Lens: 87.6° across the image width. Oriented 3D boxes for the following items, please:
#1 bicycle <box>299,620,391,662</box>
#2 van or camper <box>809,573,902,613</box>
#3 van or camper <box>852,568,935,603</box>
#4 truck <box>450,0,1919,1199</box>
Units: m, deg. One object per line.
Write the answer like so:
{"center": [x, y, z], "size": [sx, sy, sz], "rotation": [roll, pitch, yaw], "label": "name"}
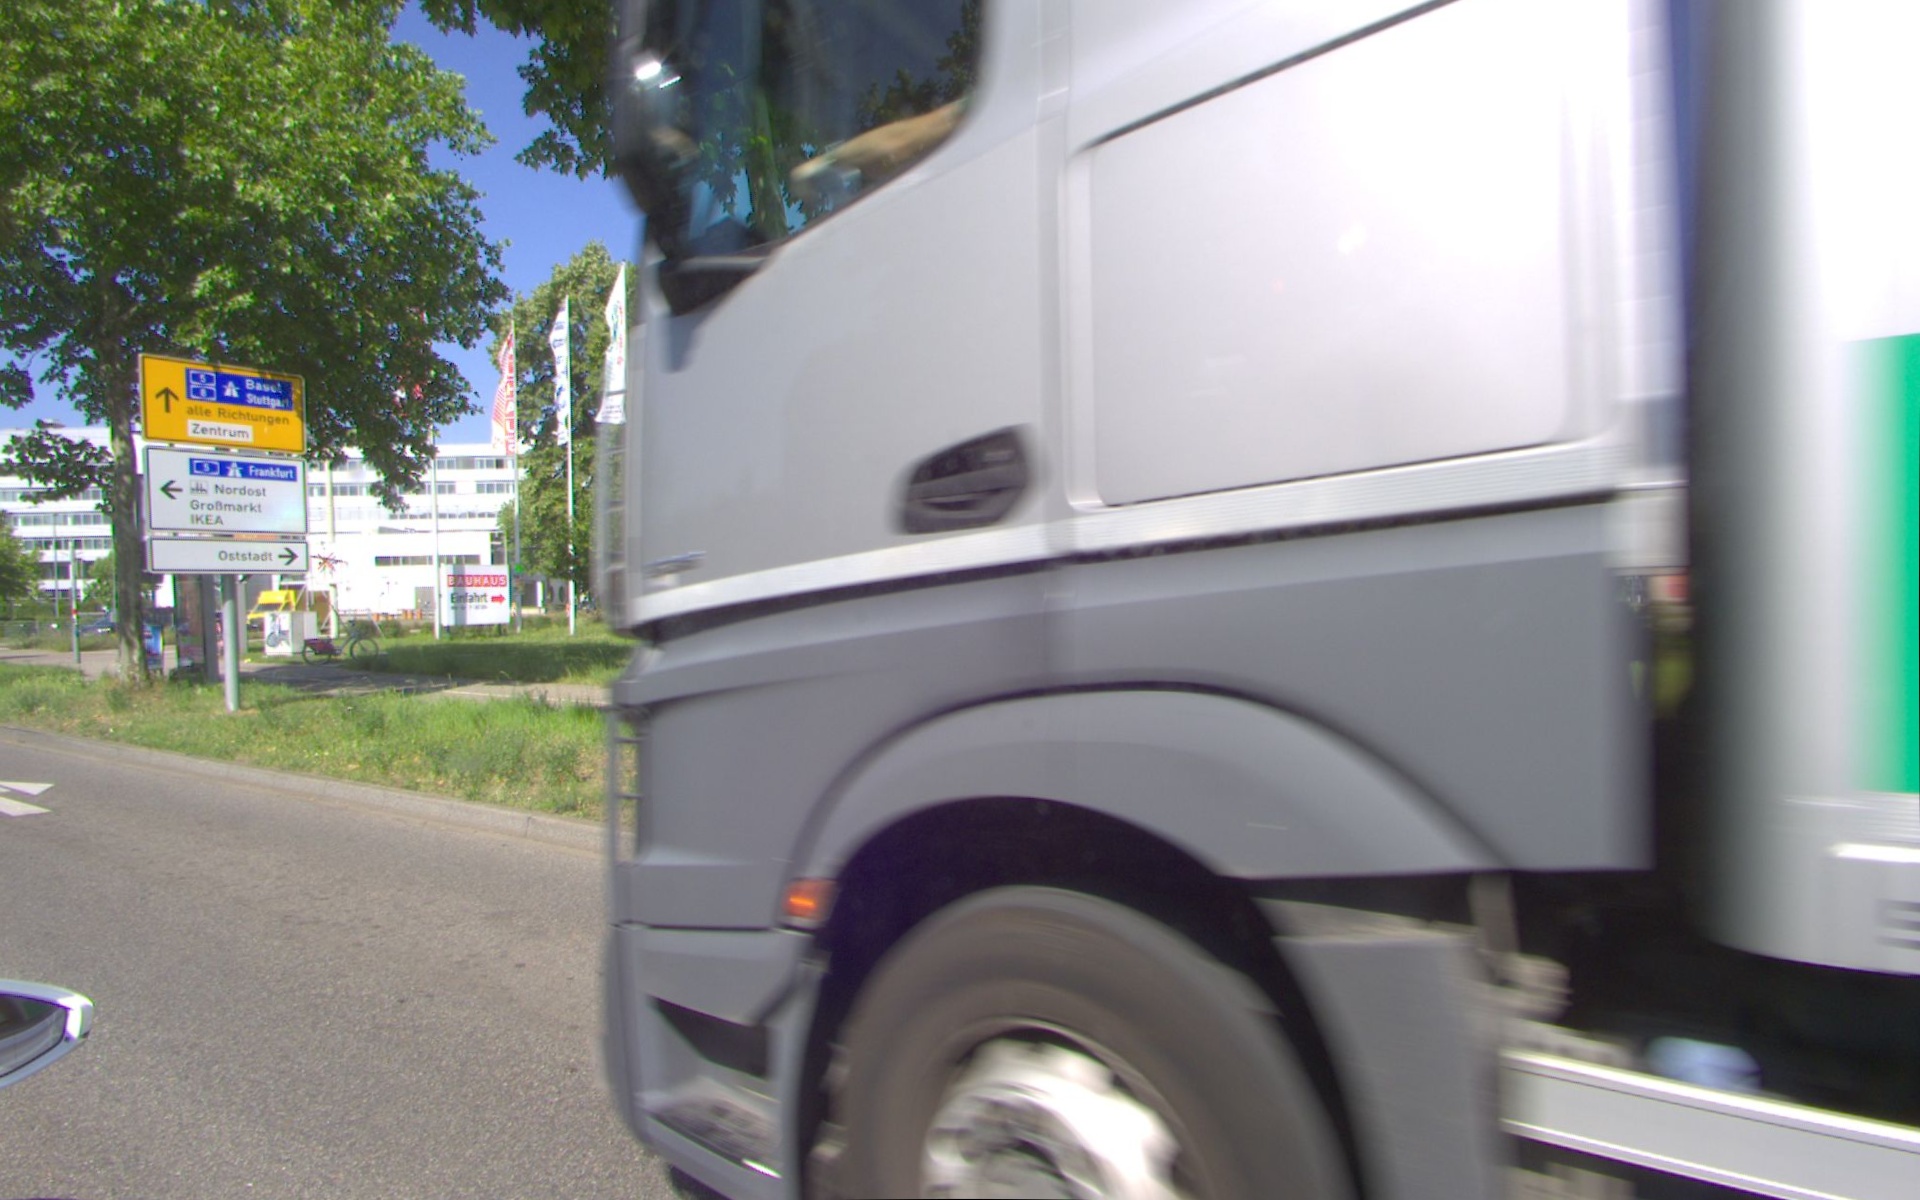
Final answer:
{"center": [-16.292, 1.079, 26.569], "size": [1.985, 1.027, 0.615], "rotation": [-1, 1, -41], "label": "bicycle"}
{"center": [-8.116, -0.535, 78.358], "size": [7.145, 2.979, 2.001], "rotation": [0, -1, -2], "label": "van or camper"}
{"center": [-5.768, -1.258, 87.471], "size": [7.145, 2.979, 2.001], "rotation": [0, -1, -2], "label": "van or camper"}
{"center": [3.156, -0.619, 0.884], "size": [8.606, 3.940, 2.722], "rotation": [-1, -1, 35], "label": "truck"}
